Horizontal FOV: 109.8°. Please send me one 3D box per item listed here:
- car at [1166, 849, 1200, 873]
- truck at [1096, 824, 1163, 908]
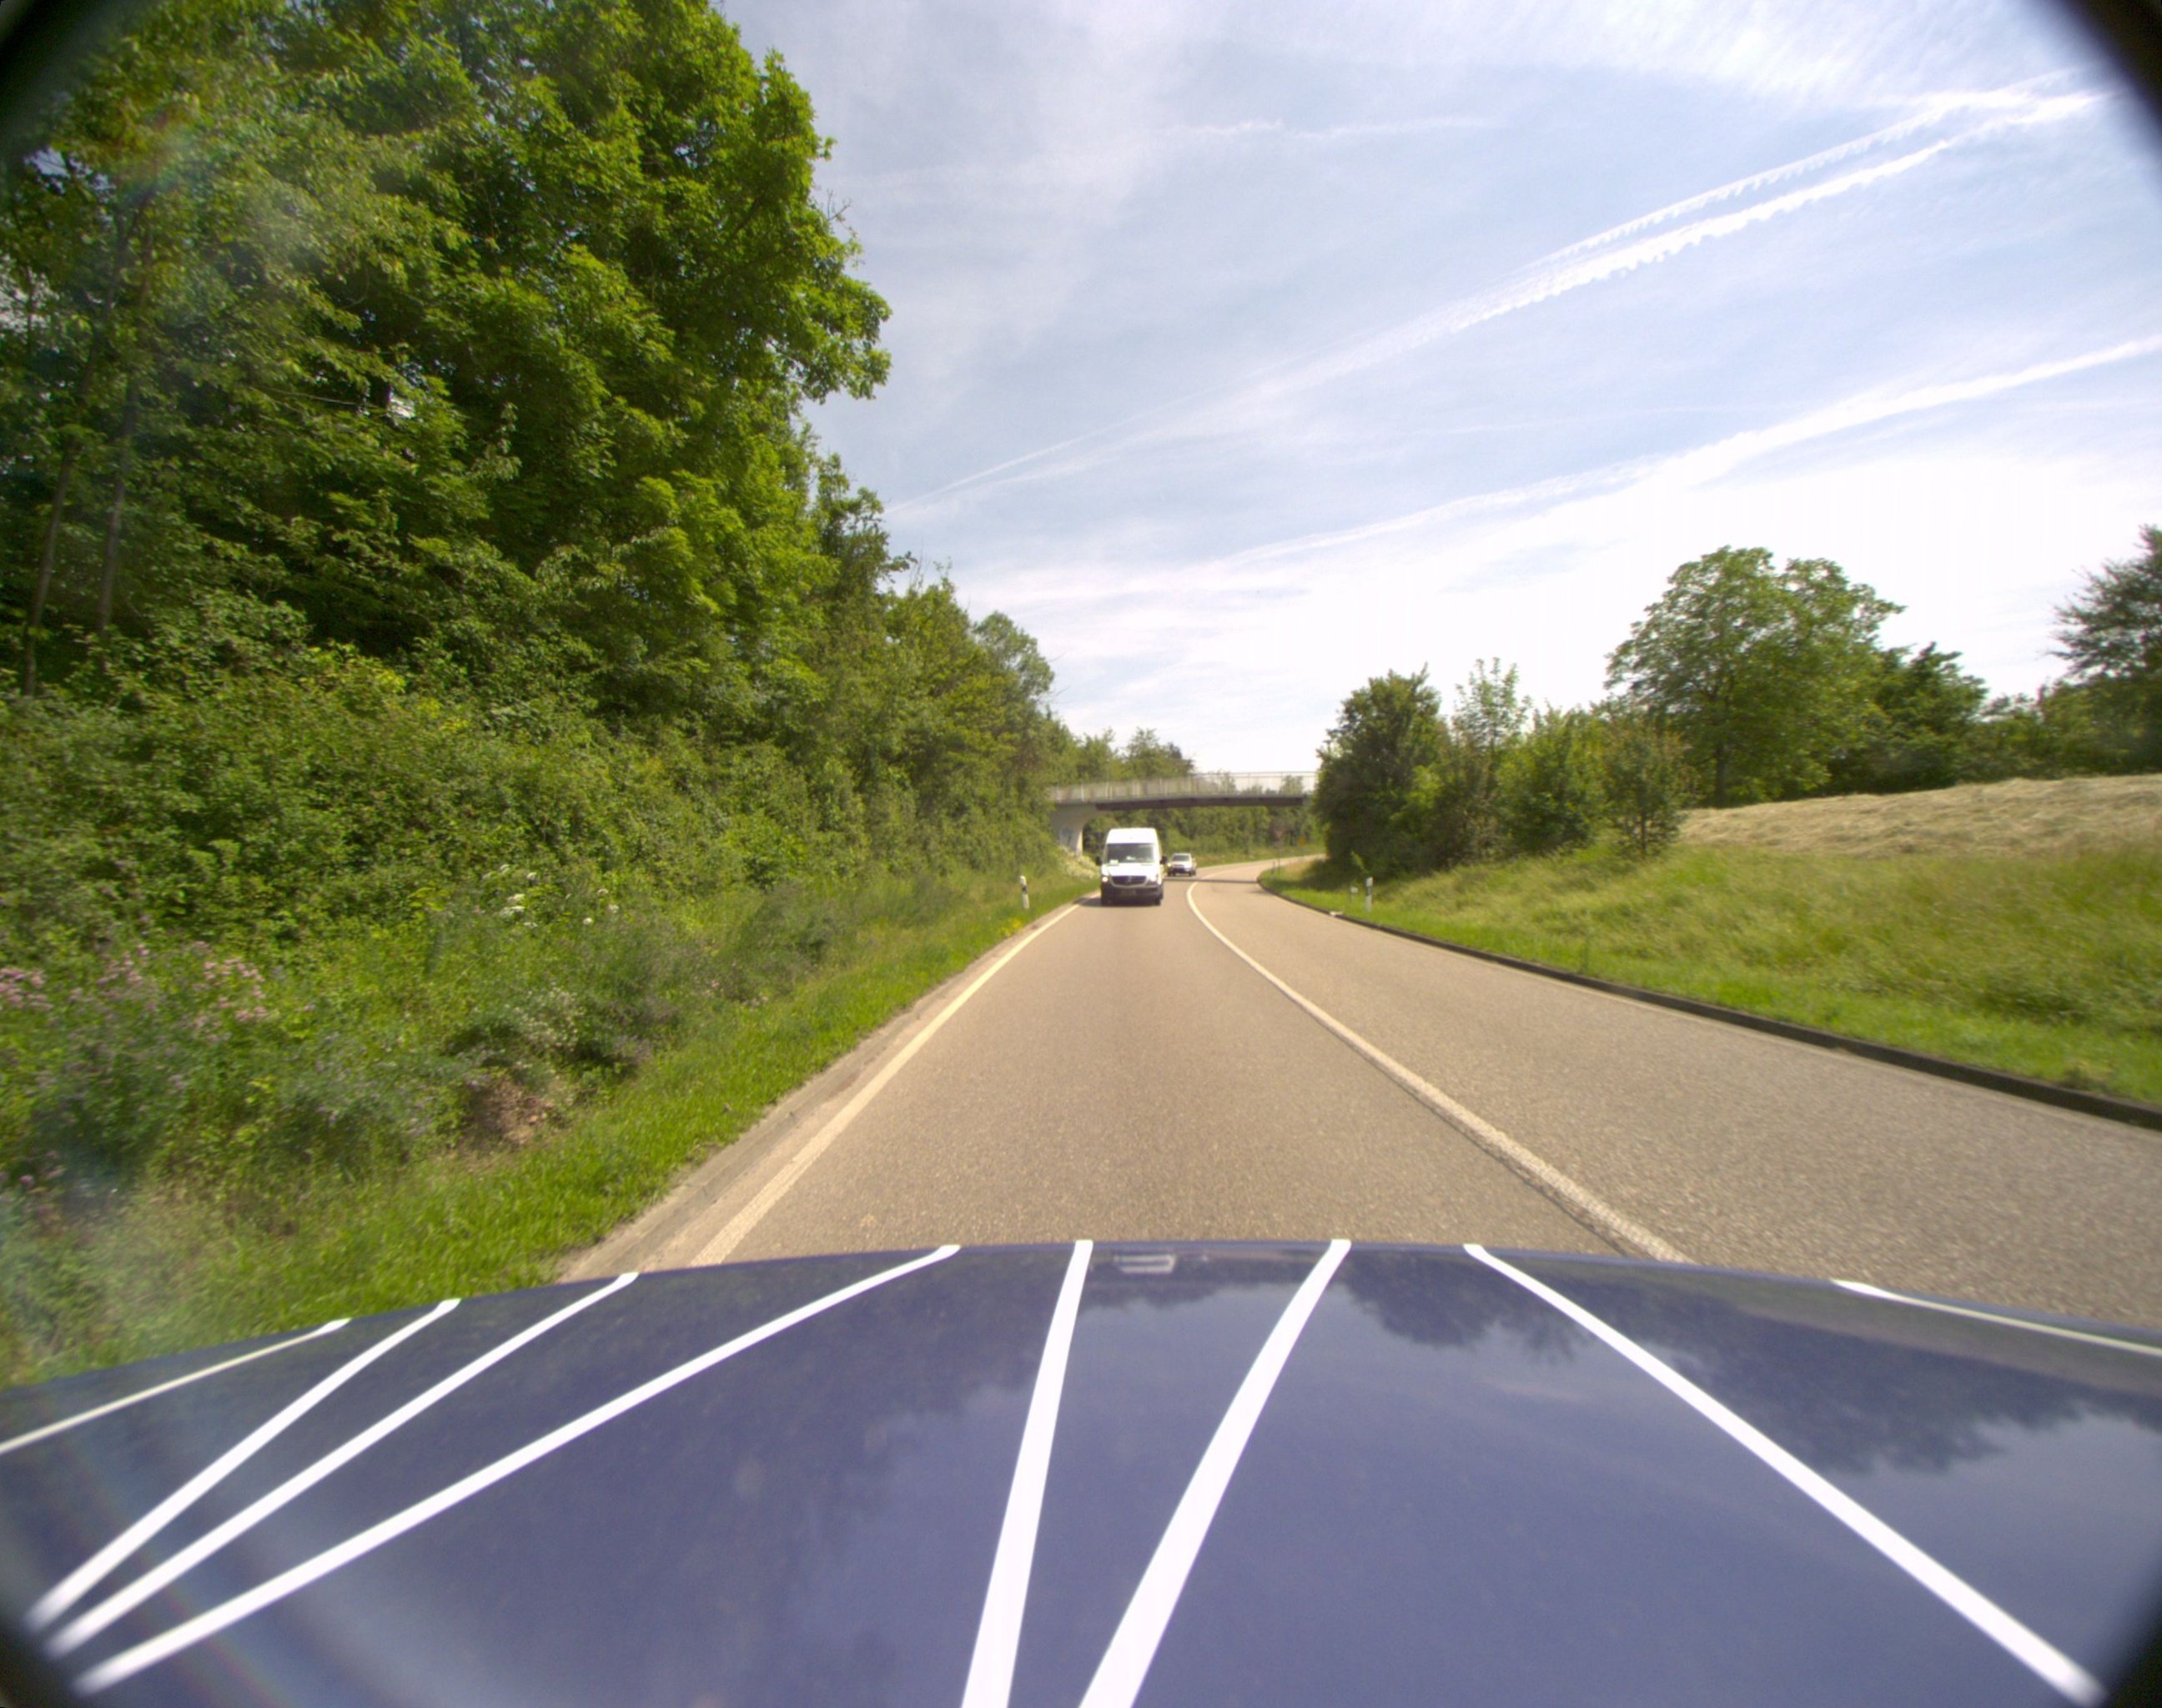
[{"bbox_3d":[7.623,0.507,56.660,1.846,1.698,4.093,-1,1,17],"label":"car"},{"bbox_3d":[1.814,0.378,26.694,1.998,2.571,5.889,-2,0,6],"label":"truck"}]
